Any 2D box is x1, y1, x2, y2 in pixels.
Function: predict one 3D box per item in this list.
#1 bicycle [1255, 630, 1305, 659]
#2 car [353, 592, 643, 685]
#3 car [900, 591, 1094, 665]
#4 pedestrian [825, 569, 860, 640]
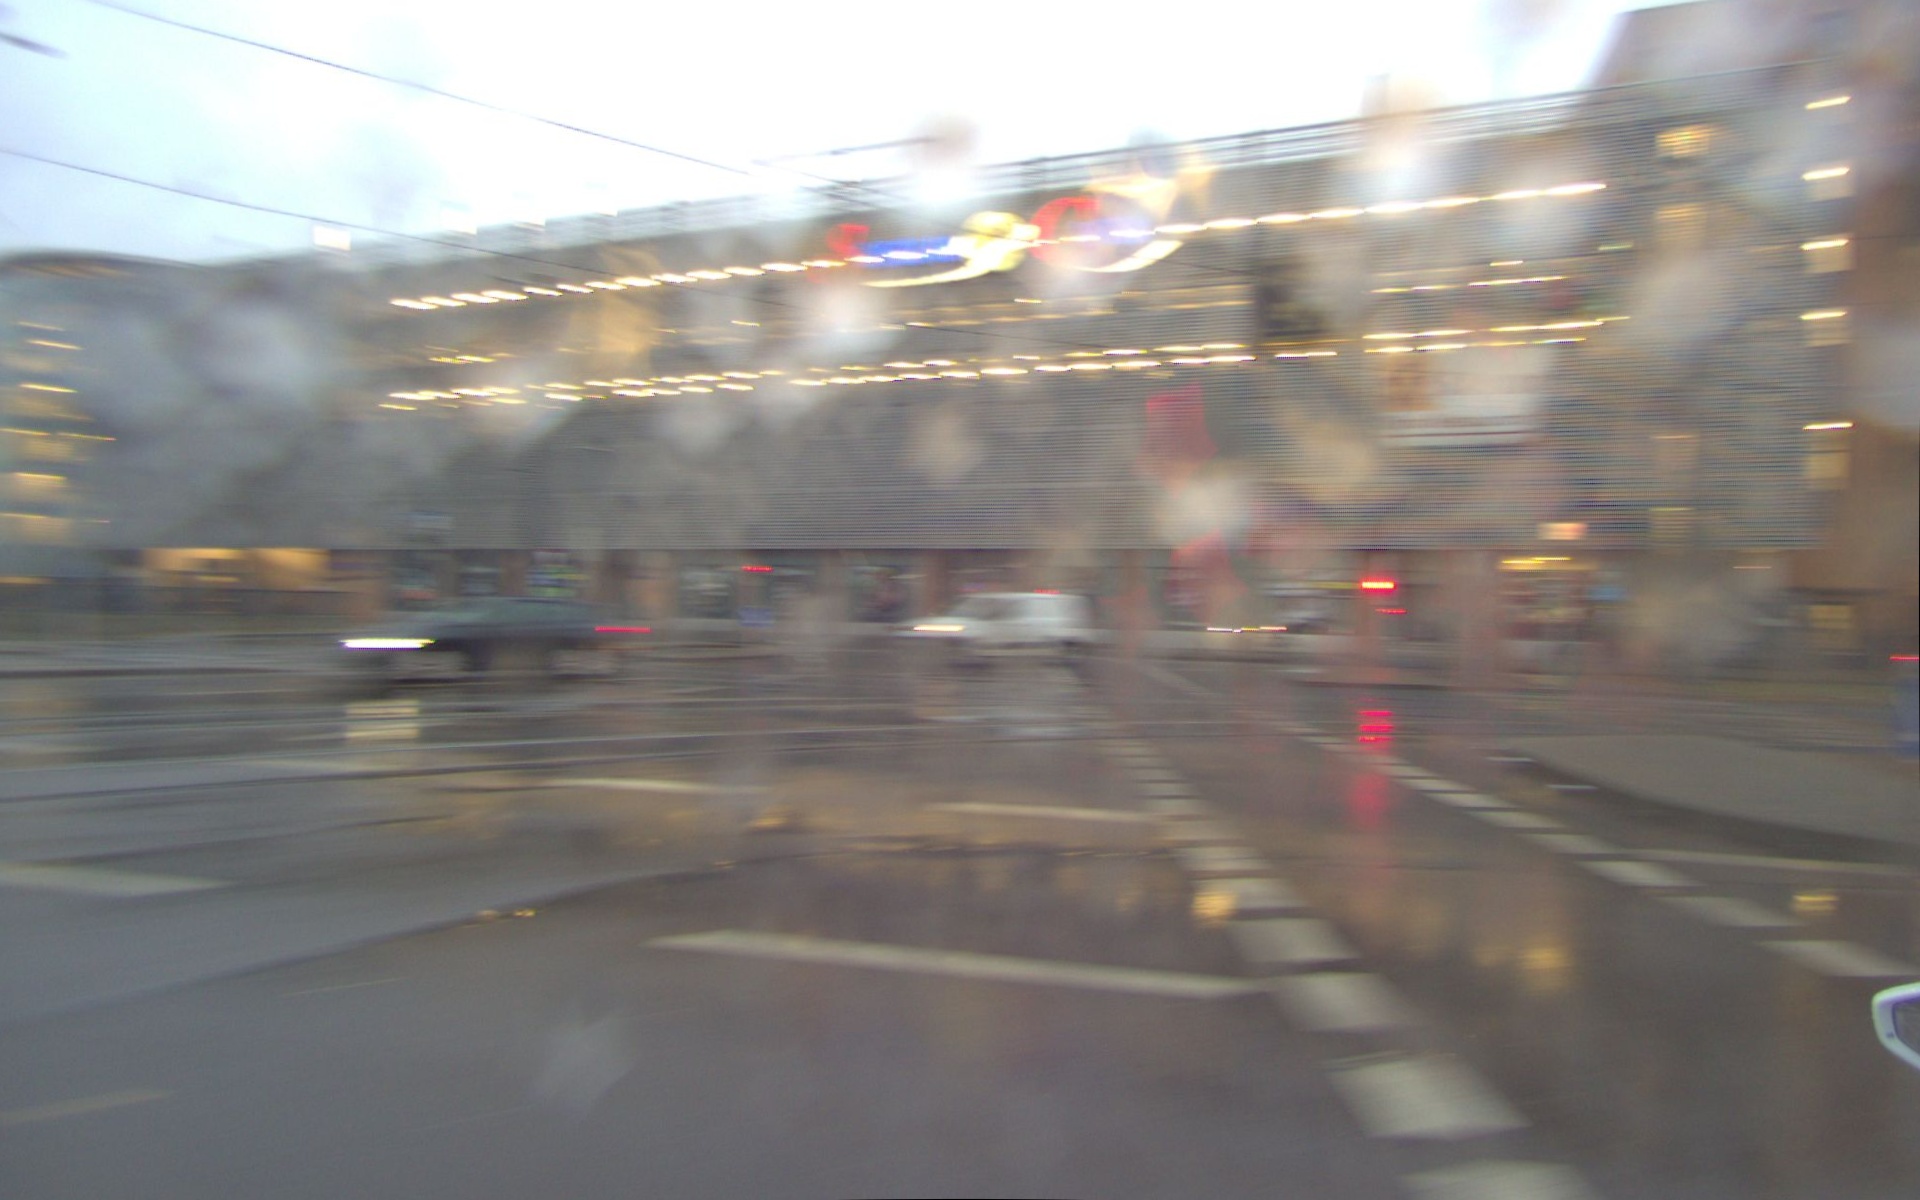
[{"bbox_3d":[14.102,1.948,44.254,2.050,1.136,0.477,2,-1,19],"label":"bicycle"},{"bbox_3d":[-8.066,0.655,17.839,1.607,1.464,4.395,0,-1,45],"label":"car"},{"bbox_3d":[0.938,0.719,25.588,4.544,1.742,1.919,2,-1,-23],"label":"car"},{"bbox_3d":[-5.058,0.199,43.281,0.947,2.963,1.114,2,-1,20],"label":"pedestrian"}]
